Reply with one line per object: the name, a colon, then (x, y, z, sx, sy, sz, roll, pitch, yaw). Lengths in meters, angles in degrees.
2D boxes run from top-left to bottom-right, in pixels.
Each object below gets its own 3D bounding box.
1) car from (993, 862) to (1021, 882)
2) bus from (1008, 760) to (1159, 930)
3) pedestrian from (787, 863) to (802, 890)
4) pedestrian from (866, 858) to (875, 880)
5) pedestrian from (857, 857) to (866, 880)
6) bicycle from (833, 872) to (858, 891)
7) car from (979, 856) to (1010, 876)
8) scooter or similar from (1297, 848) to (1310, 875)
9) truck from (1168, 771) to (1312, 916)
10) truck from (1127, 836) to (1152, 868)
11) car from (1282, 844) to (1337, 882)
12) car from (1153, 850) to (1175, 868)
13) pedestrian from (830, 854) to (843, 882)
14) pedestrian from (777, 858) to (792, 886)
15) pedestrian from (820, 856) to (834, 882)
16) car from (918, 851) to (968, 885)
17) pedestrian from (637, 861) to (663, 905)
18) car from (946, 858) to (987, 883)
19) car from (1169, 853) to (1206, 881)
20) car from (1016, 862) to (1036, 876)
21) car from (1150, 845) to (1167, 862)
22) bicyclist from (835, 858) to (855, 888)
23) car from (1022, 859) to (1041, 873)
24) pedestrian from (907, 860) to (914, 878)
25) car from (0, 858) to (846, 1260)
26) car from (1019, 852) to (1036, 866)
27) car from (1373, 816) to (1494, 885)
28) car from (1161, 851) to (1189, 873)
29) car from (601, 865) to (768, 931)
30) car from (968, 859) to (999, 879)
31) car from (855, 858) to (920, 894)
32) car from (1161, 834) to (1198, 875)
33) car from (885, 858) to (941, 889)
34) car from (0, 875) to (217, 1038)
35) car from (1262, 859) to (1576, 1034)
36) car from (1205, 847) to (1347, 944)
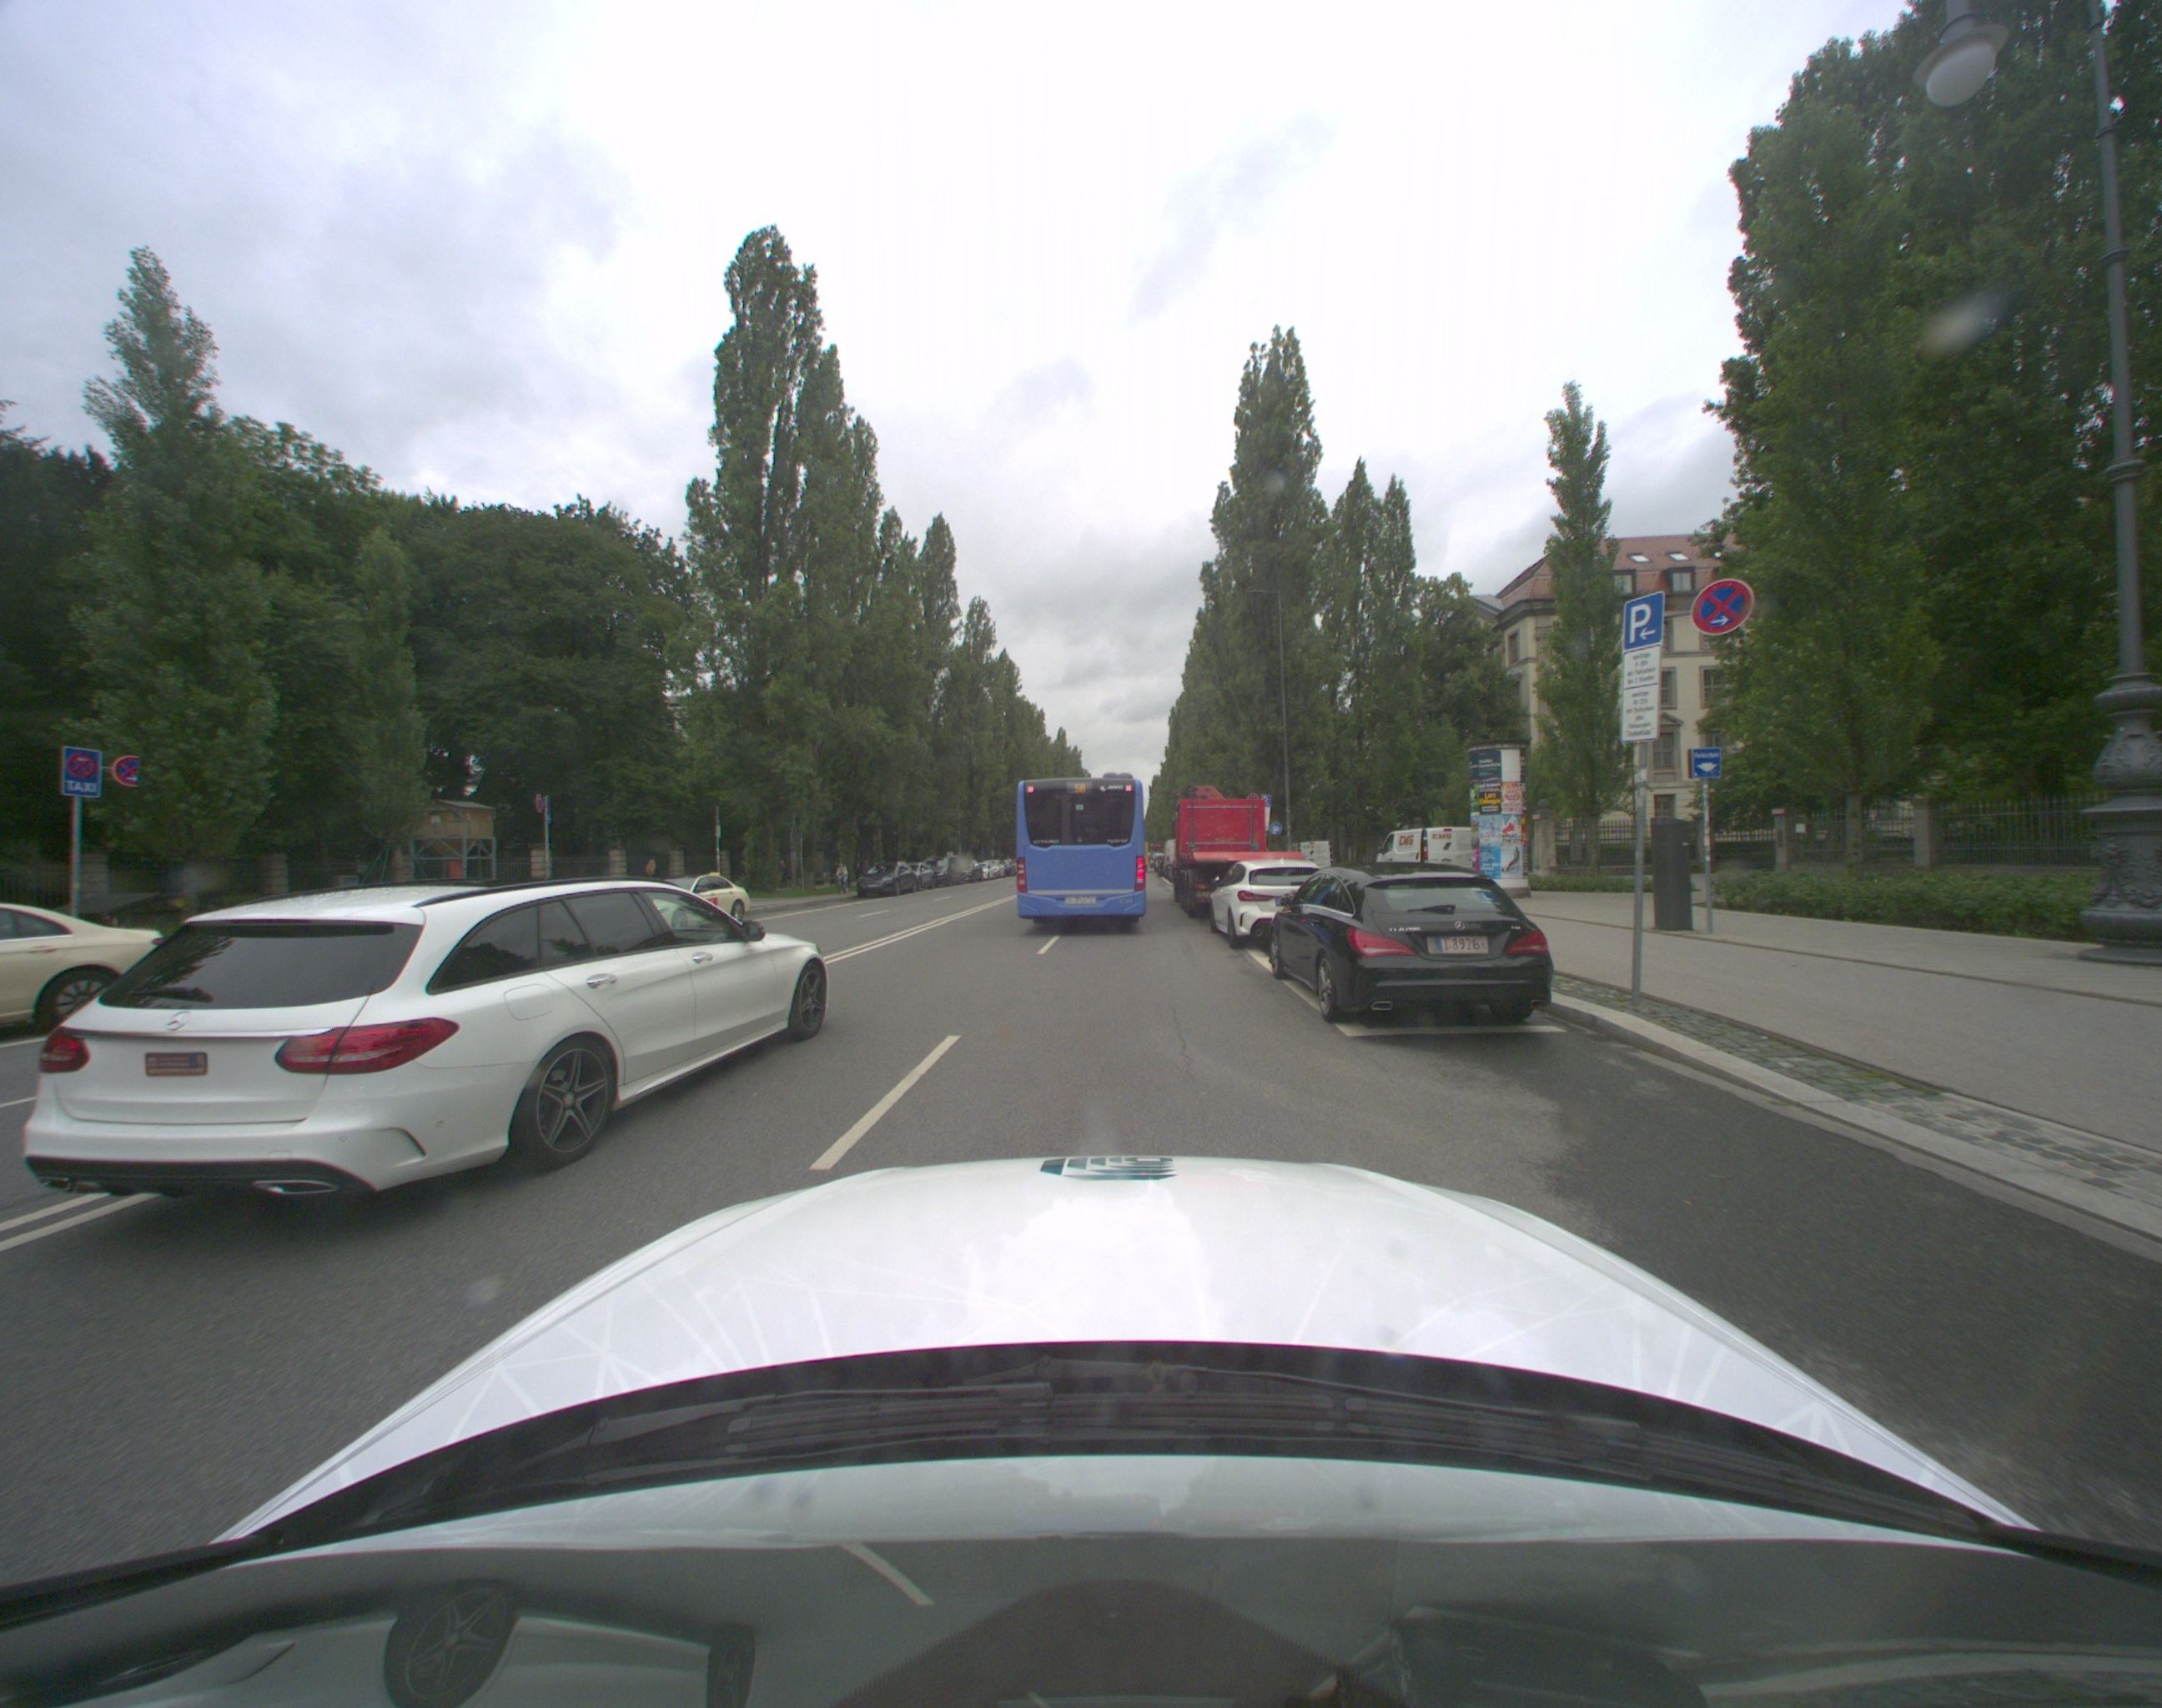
car: (-6.922, 1.679, 76.854, 1.872, 1.658, 4.721, -4, 0, 3)
bus: (0.173, -0.152, 20.072, 2.845, 3.213, 9.062, -1, 0, 1)
pedestrian: (-18.717, 1.445, 53.274, 0.663, 1.722, 0.734, -1, -1, 5)
pedestrian: (-16.126, 1.134, 62.342, 0.506, 1.707, 0.570, -1, -1, 4)
pedestrian: (-16.789, 1.120, 62.291, 0.506, 1.707, 0.570, -1, -1, 4)
bicycle: (-12.170, 1.408, 42.103, 0.704, 0.939, 1.736, -1, 0, 3)
car: (-7.471, 1.003, 70.761, 1.777, 1.588, 4.467, -4, 0, 5)
scooter or similar: (10.611, 0.362, 38.796, 0.335, 1.265, 1.187, -1, -1, 5)
truck: (4.048, -0.190, 23.078, 2.701, 3.110, 10.438, -2, 0, 4)
truck: (5.634, -0.146, 79.160, 2.317, 2.898, 7.339, -1, -1, 3)
car: (12.698, 0.481, 45.503, 1.984, 1.946, 5.089, -1, -1, 4)
car: (7.511, 0.430, 74.160, 1.773, 1.582, 4.150, 1, 0, 3)
pedestrian: (-17.615, 0.980, 58.667, 0.663, 2.014, 0.639, -1, -1, 3)
pedestrian: (-17.967, 1.091, 49.308, 0.615, 1.660, 0.705, -1, -1, 5)
pedestrian: (-18.231, 1.081, 58.460, 0.743, 1.854, 0.758, -1, -1, 4)
car: (-8.763, 0.875, 52.121, 1.985, 1.956, 4.942, -3, 0, 4)
pedestrian: (-17.357, 1.160, 32.793, 0.580, 1.720, 0.787, -1, -1, 2)
car: (-8.198, 1.171, 58.825, 1.807, 1.609, 5.058, -4, -1, 4)
car: (5.957, 0.701, 45.922, 1.747, 1.450, 4.004, 1, 0, 3)
car: (-6.125, 1.656, 90.691, 1.678, 1.413, 4.007, -3, -1, 3)
car: (10.008, -0.072, 104.981, 2.043, 2.013, 5.699, -2, 0, 4)
bicyclist: (-12.175, 0.977, 42.036, 0.691, 1.498, 0.862, -2, 0, 2)
car: (-6.055, 1.409, 100.014, 1.807, 1.643, 4.003, -1, 0, 3)
pedestrian: (-16.620, 1.438, 79.396, 0.547, 1.747, 0.673, -1, -1, 3)
car: (-3.290, 0.770, 5.313, 1.817, 1.454, 4.589, 0, -1, 5)
car: (-6.239, 0.549, 95.404, 1.738, 1.519, 4.115, -3, -1, -2)
car: (10.857, -0.081, 25.503, 1.873, 1.945, 4.888, 0, 0, 2)
car: (6.824, 0.586, 59.574, 1.813, 1.590, 4.227, -1, -1, 3)
car: (-10.768, 1.120, 22.603, 1.922, 1.497, 4.796, -2, 0, 5)
car: (-7.826, 1.187, 65.608, 1.669, 1.422, 4.241, -3, -1, 4)
car: (-9.525, 1.057, 40.503, 1.774, 1.596, 4.618, -3, 0, 4)
car: (6.382, 0.046, 53.231, 2.065, 2.479, 6.289, 0, 0, 4)
car: (-9.436, 1.060, 46.053, 1.882, 1.584, 4.658, -2, 0, 3)
car: (-11.858, 1.062, 7.670, 1.929, 1.624, 4.969, -2, -1, 4)
car: (3.077, 0.730, 8.454, 1.727, 1.310, 4.375, -2, 0, 5)
car: (3.286, 0.638, 14.516, 1.780, 1.460, 4.221, -1, 0, 4)
